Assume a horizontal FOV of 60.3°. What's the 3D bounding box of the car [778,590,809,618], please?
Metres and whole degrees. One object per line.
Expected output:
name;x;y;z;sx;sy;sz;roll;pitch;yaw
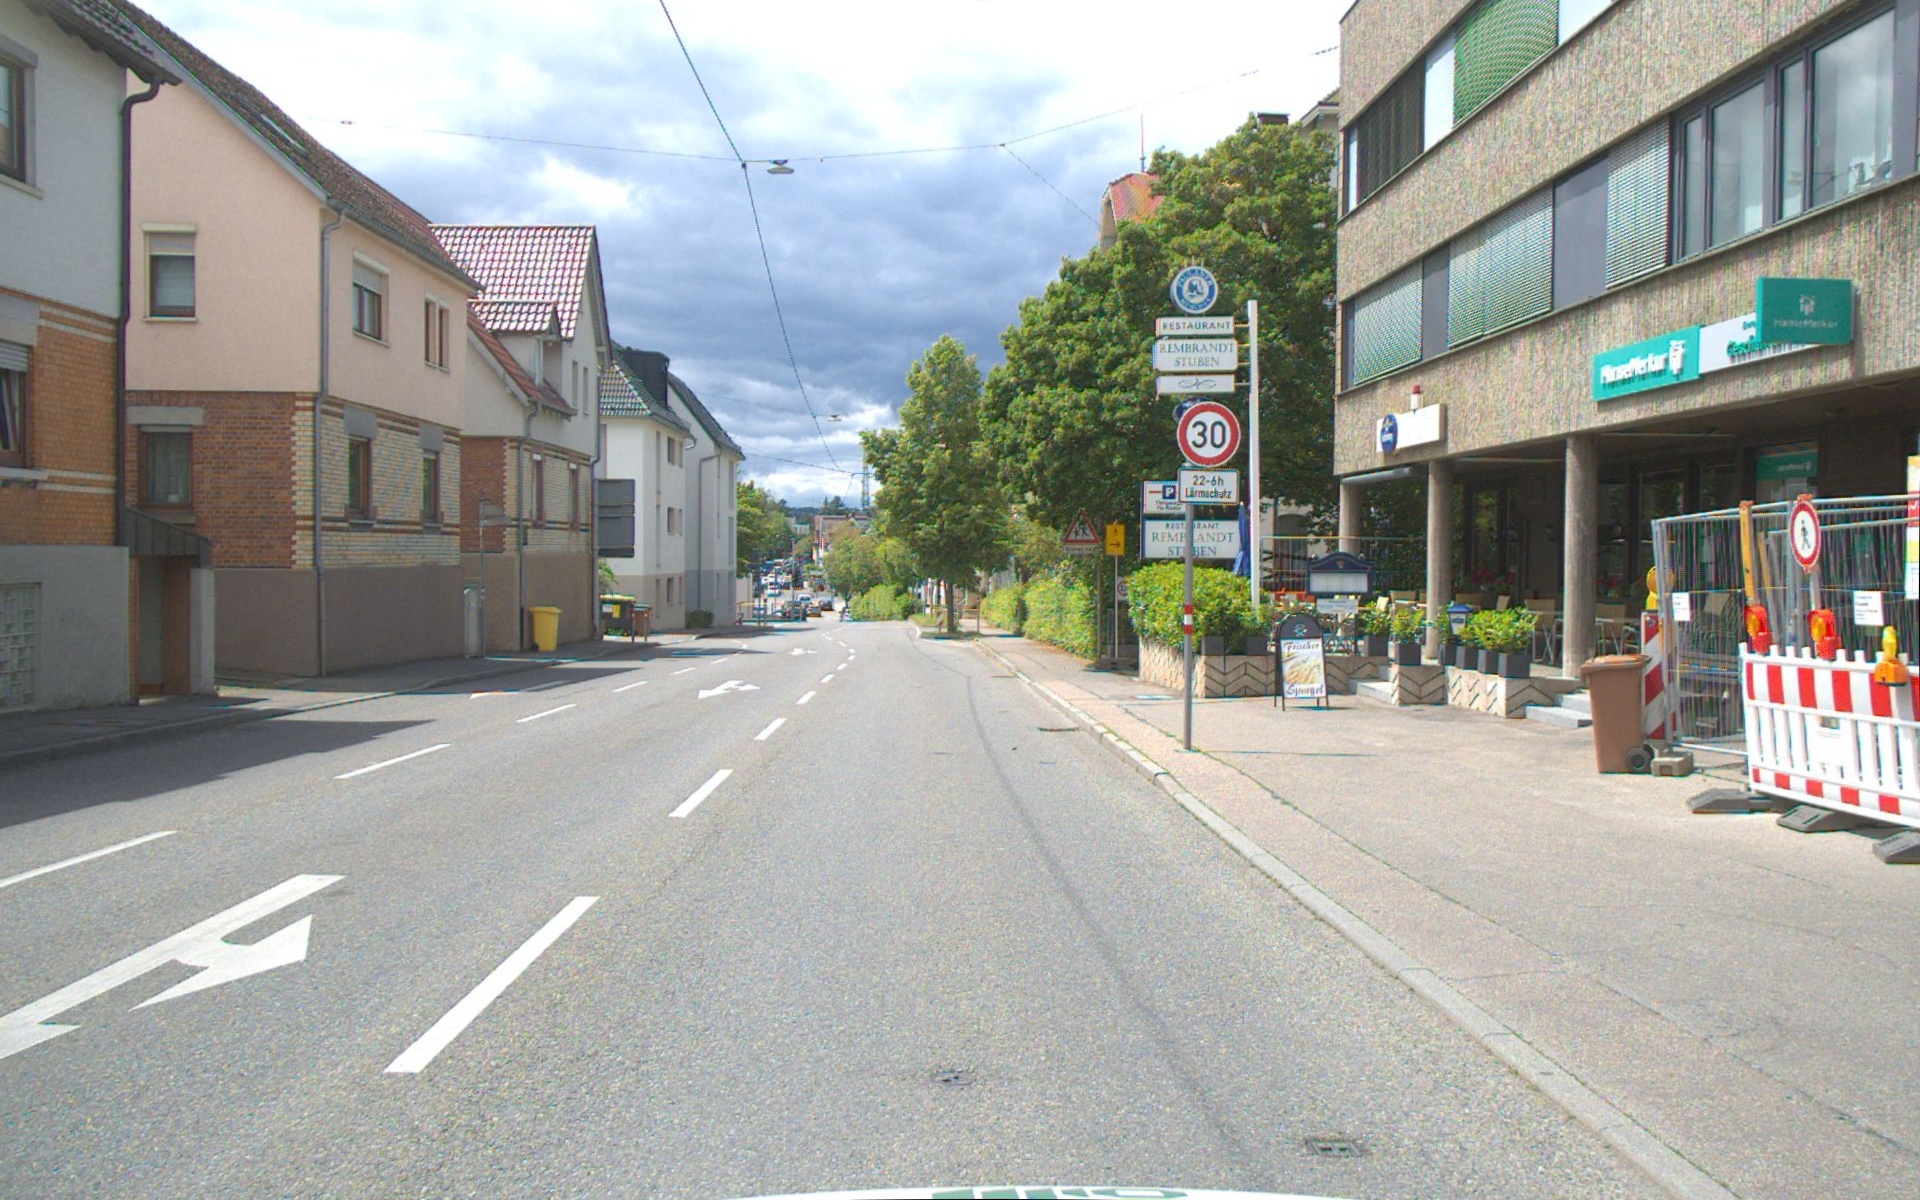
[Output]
car;-12.445;0.321;123.475;1.958;2.049;3.989;0;0;-11

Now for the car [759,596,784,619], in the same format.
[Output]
car;-16.944;0.633;148.574;1.958;2.049;3.989;0;0;-11

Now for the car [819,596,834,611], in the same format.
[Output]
car;-18.236;0.507;225.852;1.955;2.049;3.995;-1;-1;-6

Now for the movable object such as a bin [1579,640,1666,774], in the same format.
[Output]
movable object such as a bin;5.424;0.857;13.534;0.591;1.044;0.678;-1;0;28

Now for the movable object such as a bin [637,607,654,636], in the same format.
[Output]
movable object such as a bin;-11.151;0.761;58.656;0.521;1.048;0.454;0;0;-4

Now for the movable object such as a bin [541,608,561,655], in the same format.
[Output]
movable object such as a bin;-10.111;0.779;40.902;0.422;1.147;0.299;-1;0;-3

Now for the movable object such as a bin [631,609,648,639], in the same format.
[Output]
movable object such as a bin;-11.244;0.847;57.977;0.521;1.048;0.454;0;0;-4

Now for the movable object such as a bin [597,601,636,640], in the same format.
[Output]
movable object such as a bin;-11.804;0.698;56.849;1.257;1.333;0.815;0;0;-8

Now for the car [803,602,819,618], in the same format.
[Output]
car;-18.933;1.261;210.521;1.955;2.049;3.995;-1;-1;-6
